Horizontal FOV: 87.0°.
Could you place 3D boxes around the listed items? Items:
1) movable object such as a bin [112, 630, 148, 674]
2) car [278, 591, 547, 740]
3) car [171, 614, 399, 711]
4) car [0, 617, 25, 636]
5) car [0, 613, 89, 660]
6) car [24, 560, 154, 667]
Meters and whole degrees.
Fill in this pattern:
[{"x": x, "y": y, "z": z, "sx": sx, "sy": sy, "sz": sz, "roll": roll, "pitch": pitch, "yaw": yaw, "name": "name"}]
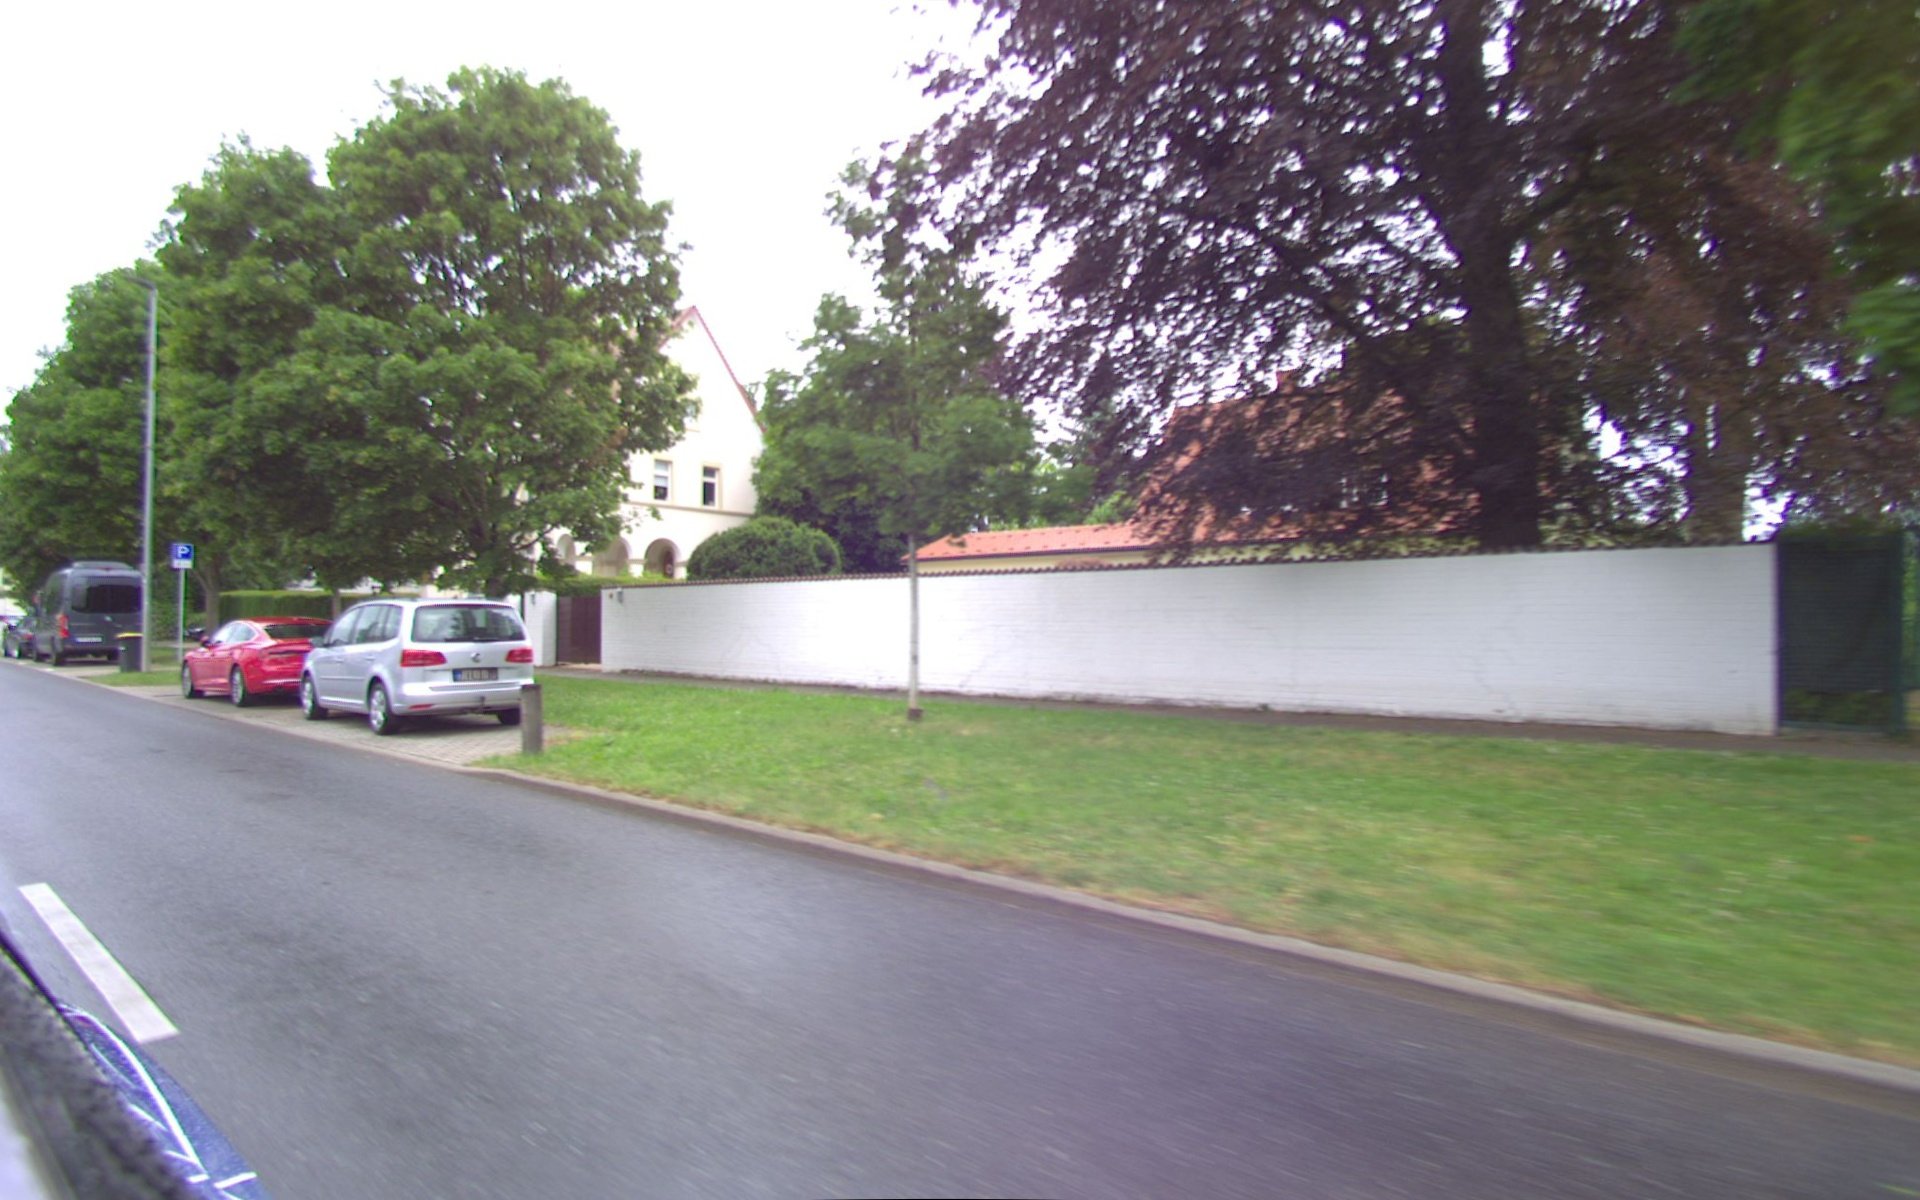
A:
[{"x": -18.464, "y": 1.145, "z": 22.519, "sx": 0.549, "sy": 0.960, "sz": 0.551, "roll": -2, "pitch": -2, "yaw": 44, "name": "movable object such as a bin"}, {"x": -7.252, "y": 0.761, "z": 13.221, "sx": 4.230, "sy": 1.640, "sz": 1.738, "roll": -1, "pitch": -1, "yaw": 41, "name": "car"}, {"x": -11.386, "y": 0.949, "z": 16.955, "sx": 4.553, "sy": 1.414, "sz": 1.973, "roll": -1, "pitch": -1, "yaw": 40, "name": "car"}, {"x": -73.169, "y": 2.037, "z": 77.908, "sx": 3.454, "sy": 1.475, "sz": 1.576, "roll": -1, "pitch": -2, "yaw": 45, "name": "car"}, {"x": -29.825, "y": 1.160, "z": 32.894, "sx": 3.822, "sy": 1.419, "sz": 1.705, "roll": -1, "pitch": -2, "yaw": 40, "name": "car"}, {"x": -24.947, "y": 0.389, "z": 28.905, "sx": 5.934, "sy": 2.749, "sz": 1.973, "roll": -1, "pitch": 0, "yaw": 41, "name": "car"}]
